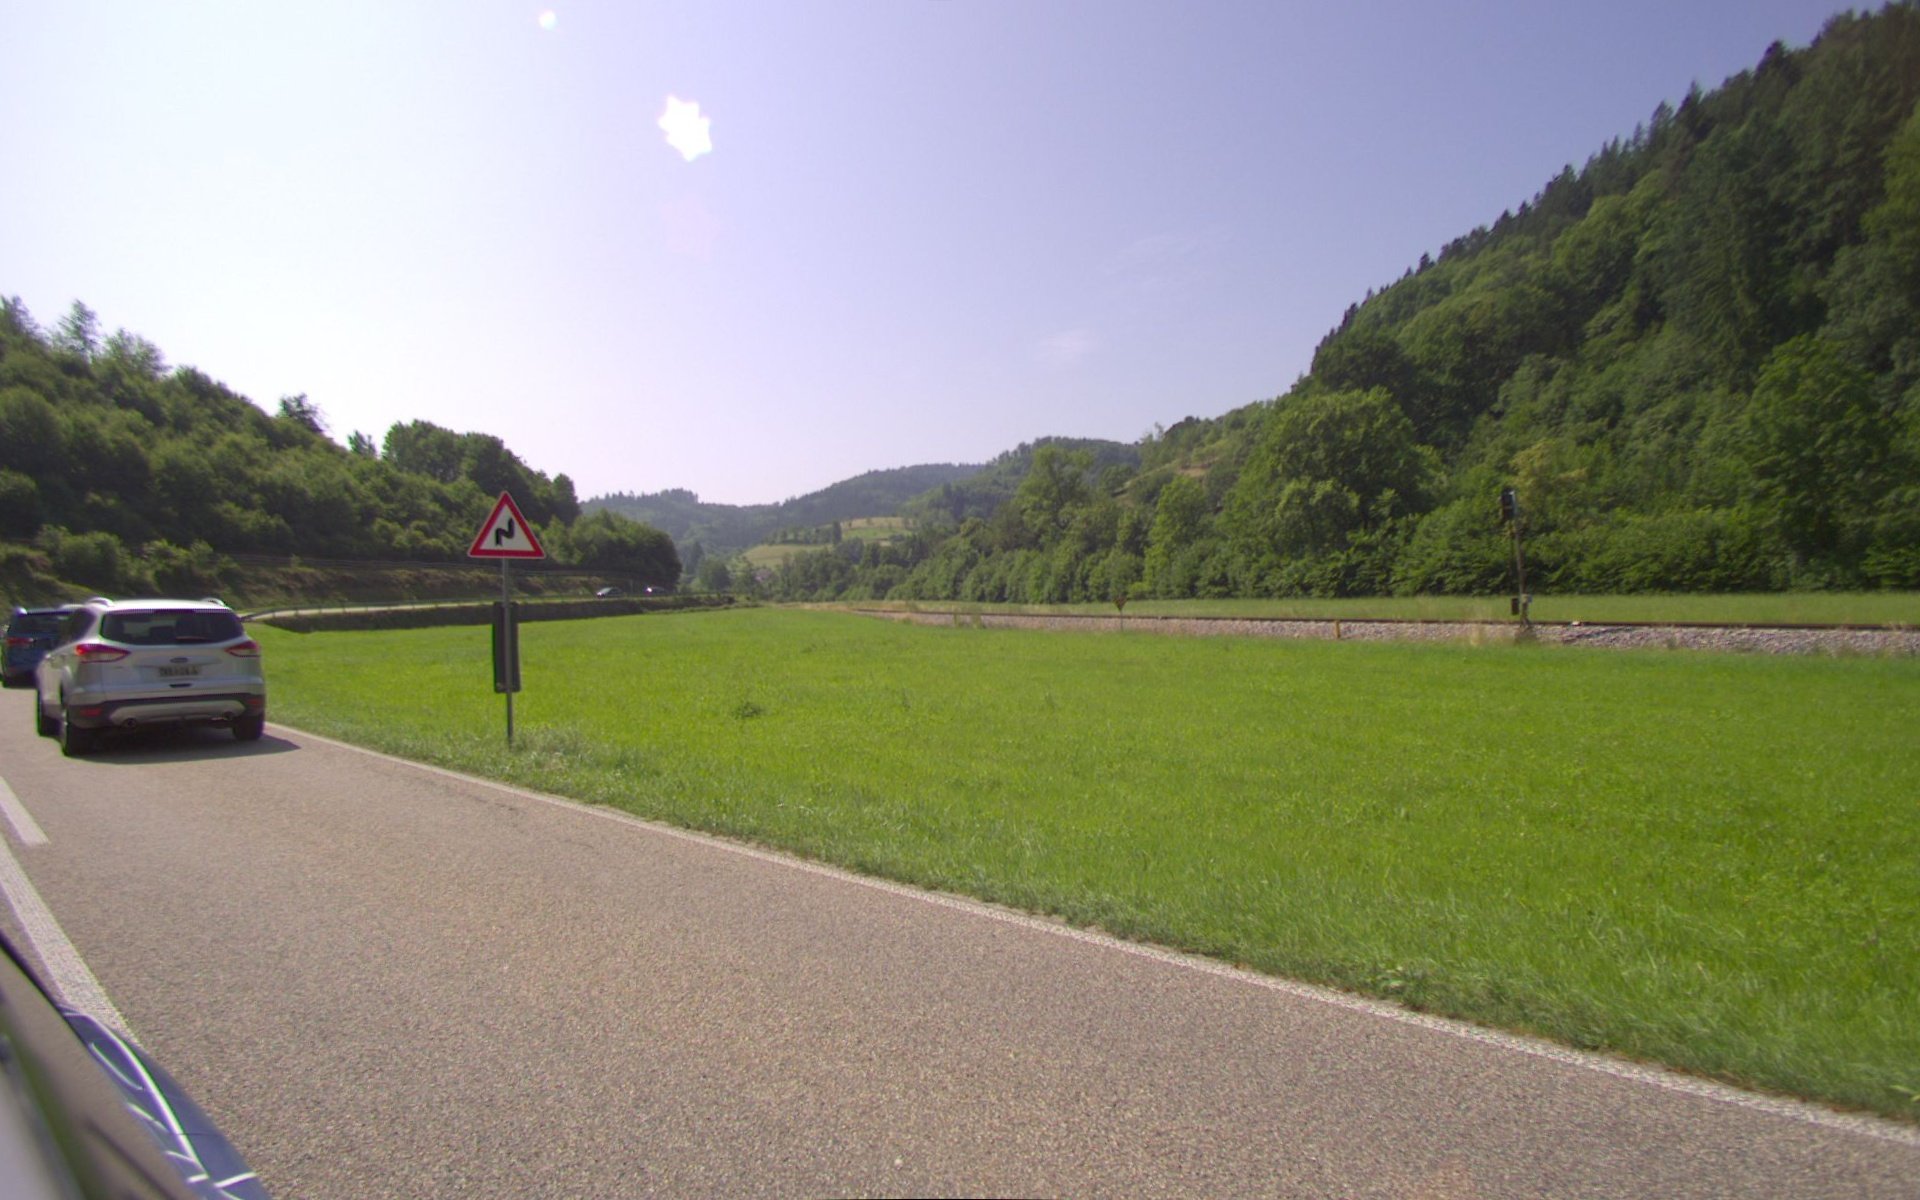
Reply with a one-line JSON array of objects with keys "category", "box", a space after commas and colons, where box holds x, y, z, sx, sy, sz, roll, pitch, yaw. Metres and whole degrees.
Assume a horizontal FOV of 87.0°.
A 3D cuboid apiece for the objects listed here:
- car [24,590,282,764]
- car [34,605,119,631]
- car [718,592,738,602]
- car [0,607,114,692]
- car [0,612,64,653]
[{"category": "car", "box": [-9.822, 0.815, 12.198, 4.160, 1.727, 1.894, -2, -1, 44]}, {"category": "car", "box": [-55.578, 1.149, 63.793, 2.112, 1.502, 4.684, -1, -1, -13]}, {"category": "car", "box": [-44.378, -0.520, 193.705, 1.935, 1.753, 4.879, 0, -1, 11]}, {"category": "car", "box": [-20.164, 1.000, 22.373, 4.513, 1.636, 1.844, 0, 1, 45]}, {"category": "car", "box": [-37.676, 1.277, 41.048, 1.892, 1.481, 4.518, -1, 1, -40]}]
